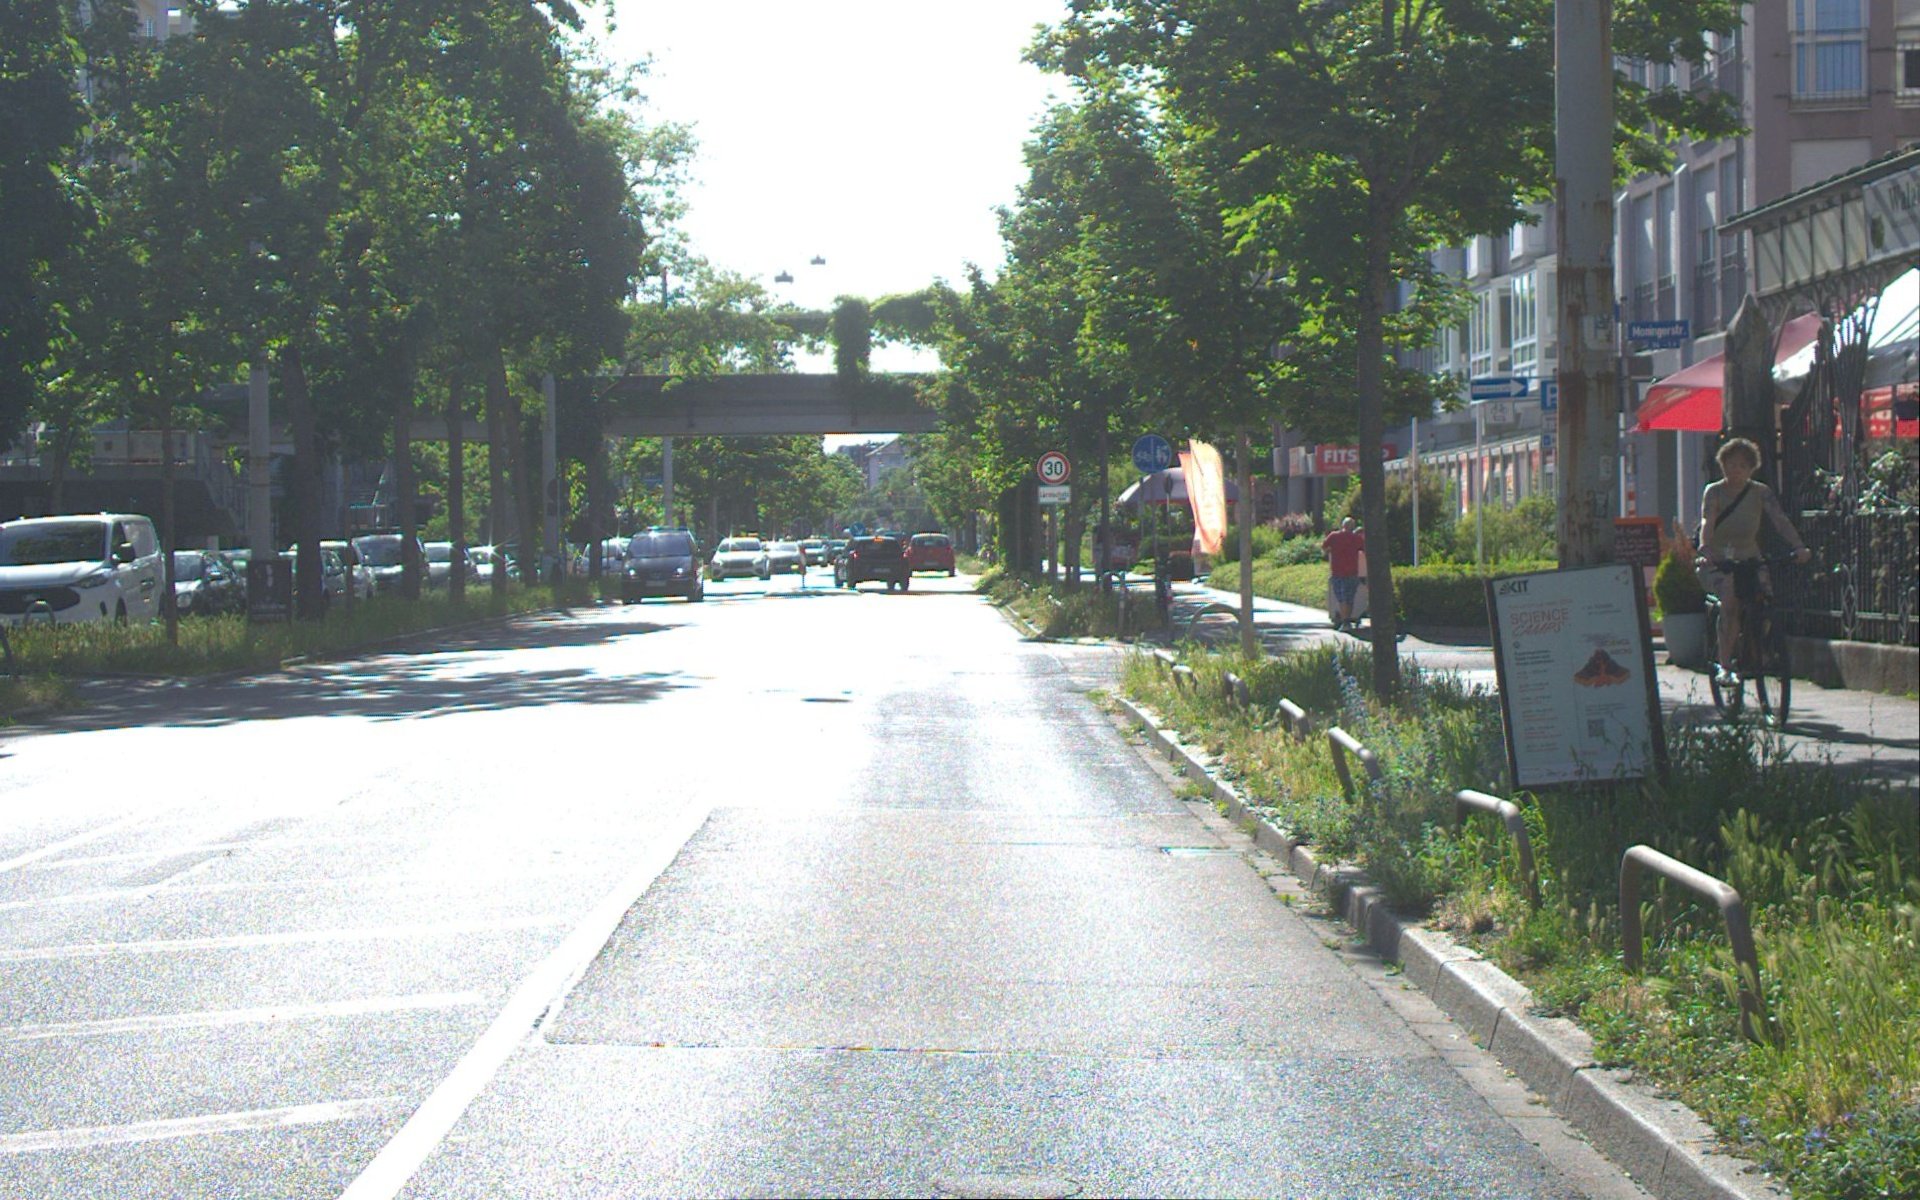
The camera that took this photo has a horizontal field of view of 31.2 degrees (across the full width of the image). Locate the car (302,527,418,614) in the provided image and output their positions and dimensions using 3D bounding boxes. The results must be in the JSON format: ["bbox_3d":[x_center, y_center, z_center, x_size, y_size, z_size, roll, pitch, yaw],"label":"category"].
[{"bbox_3d":[-13.068,-0.672,75.121,1.855,1.843,4.562,0,1,-2],"label":"car"}]

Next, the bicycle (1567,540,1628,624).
[{"bbox_3d":[8.867,-0.259,47.870,0.685,1.024,2.203,-2,3,8],"label":"bicycle"}]

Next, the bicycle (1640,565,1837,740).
[{"bbox_3d":[4.803,0.304,21.344,0.685,1.024,2.096,-1,0,-2],"label":"bicycle"}]

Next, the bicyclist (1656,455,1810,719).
[{"bbox_3d":[4.789,-0.082,21.341,0.700,1.594,0.955,-1,0,-2],"label":"bicyclist"}]

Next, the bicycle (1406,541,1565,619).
[{"bbox_3d":[7.636,-0.291,50.014,2.196,1.024,0.687,-2,3,1],"label":"bicycle"}]

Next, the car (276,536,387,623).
[{"bbox_3d":[-12.611,-0.447,69.213,1.855,1.678,4.666,0,1,-6],"label":"car"}]

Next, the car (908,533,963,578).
[{"bbox_3d":[-0.834,-1.554,119.913,1.856,1.518,4.319,0,1,1],"label":"car"}]

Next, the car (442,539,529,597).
[{"bbox_3d":[-12.773,-0.885,92.732,1.855,1.518,4.319,0,1,-2],"label":"car"}]

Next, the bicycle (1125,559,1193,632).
[{"bbox_3d":[3.020,-0.076,51.998,0.591,1.062,2.021,0,1,16],"label":"bicycle"}]

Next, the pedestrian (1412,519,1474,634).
[{"bbox_3d":[6.967,-0.340,49.589,0.653,1.598,0.603,-4,0,-6],"label":"pedestrian"}]

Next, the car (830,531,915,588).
[{"bbox_3d":[-2.555,-1.183,99.745,1.984,1.595,4.141,0,1,-8],"label":"car"}]

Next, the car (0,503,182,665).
[{"bbox_3d":[-12.386,-0.255,48.110,1.981,2.069,5.197,-3,1,-3],"label":"car"}]

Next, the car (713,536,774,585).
[{"bbox_3d":[-7.406,-1.379,118.176,1.855,1.563,4.716,-2,1,-1],"label":"car"}]

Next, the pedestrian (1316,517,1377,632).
[{"bbox_3d":[5.541,-0.360,49.267,0.653,1.598,0.603,-4,0,-6],"label":"pedestrian"}]

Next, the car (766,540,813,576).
[{"bbox_3d":[-7.356,-1.834,148.637,1.855,1.435,4.319,-3,1,-2],"label":"car"}]

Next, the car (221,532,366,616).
[{"bbox_3d":[-12.366,-0.509,63.999,1.856,1.518,4.063,0,1,1],"label":"car"}]

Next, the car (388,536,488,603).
[{"bbox_3d":[-12.600,-0.754,83.145,1.855,1.563,3.872,0,1,0],"label":"car"}]

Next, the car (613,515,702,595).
[{"bbox_3d":[-7.359,-1.128,84.012,1.855,1.818,4.610,-3,1,-2],"label":"car"}]

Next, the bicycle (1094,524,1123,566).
[{"bbox_3d":[3.692,-1.369,85.573,0.589,1.024,1.860,-1,0,-2],"label":"bicycle"}]

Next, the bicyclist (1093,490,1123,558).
[{"bbox_3d":[3.686,-1.881,85.699,0.667,1.689,0.889,0,0,-1],"label":"bicyclist"}]
